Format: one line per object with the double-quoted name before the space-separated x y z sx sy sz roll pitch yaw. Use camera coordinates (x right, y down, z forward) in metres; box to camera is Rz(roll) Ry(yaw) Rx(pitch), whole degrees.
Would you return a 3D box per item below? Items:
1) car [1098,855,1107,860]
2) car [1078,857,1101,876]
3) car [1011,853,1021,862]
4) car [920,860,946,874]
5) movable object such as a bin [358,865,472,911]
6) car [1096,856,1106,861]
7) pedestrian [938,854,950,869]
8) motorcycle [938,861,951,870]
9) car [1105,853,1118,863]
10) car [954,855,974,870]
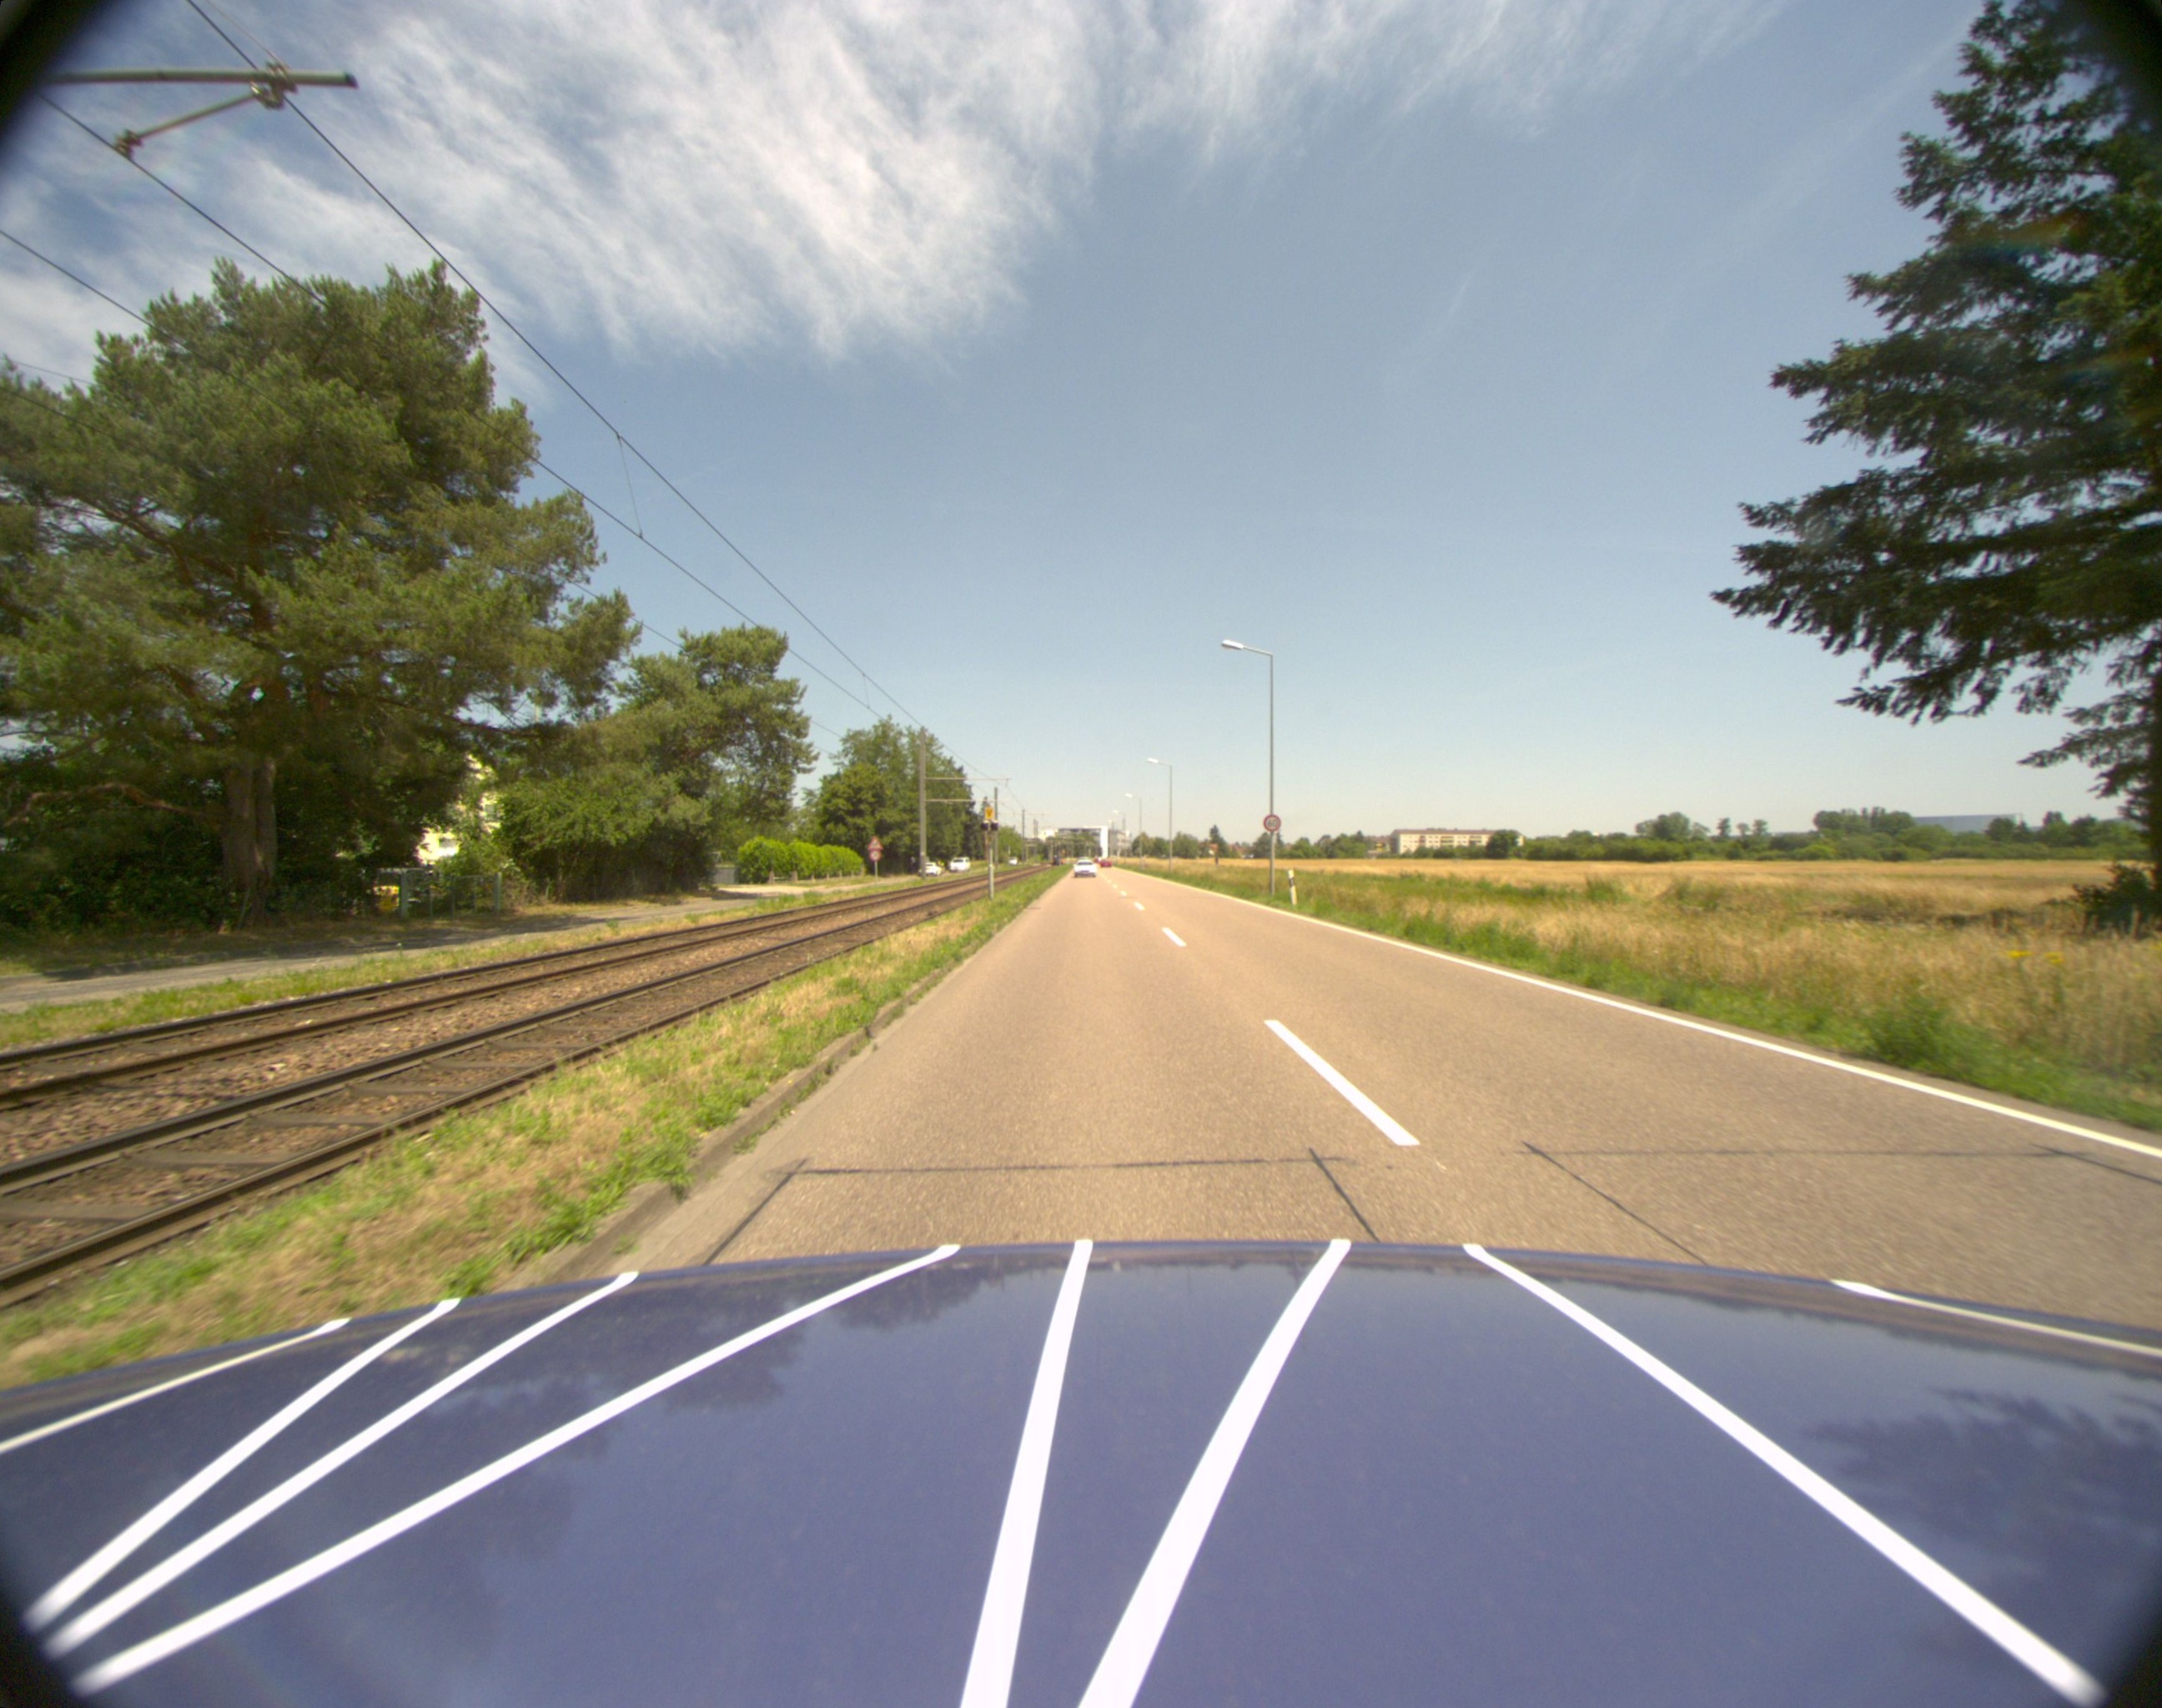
"car" 5.659 0.798 198.325 2.254 1.254 3.889 -1 0 1
"car" 0.738 1.019 64.278 1.856 1.447 3.706 -1 0 1
"car" -15.200 0.840 177.760 1.944 2.111 4.587 -1 0 1
"car" -15.601 1.369 80.238 1.923 1.376 4.000 -1 0 1
"movable object such as a bin" -25.381 1.268 29.070 1.998 1.622 2.694 0 0 0
"car" 4.754 1.077 183.100 2.254 1.254 4.365 -1 0 1
"pedestrian" -16.212 0.889 89.679 1.171 1.653 0.880 -1 1 5
"motorcycle" -16.143 1.350 90.056 0.858 0.902 2.791 -1 0 5
"car" 5.338 0.684 133.749 2.254 1.677 3.889 -1 0 1
"car" -15.370 1.108 99.898 1.863 1.816 4.587 -1 0 1
